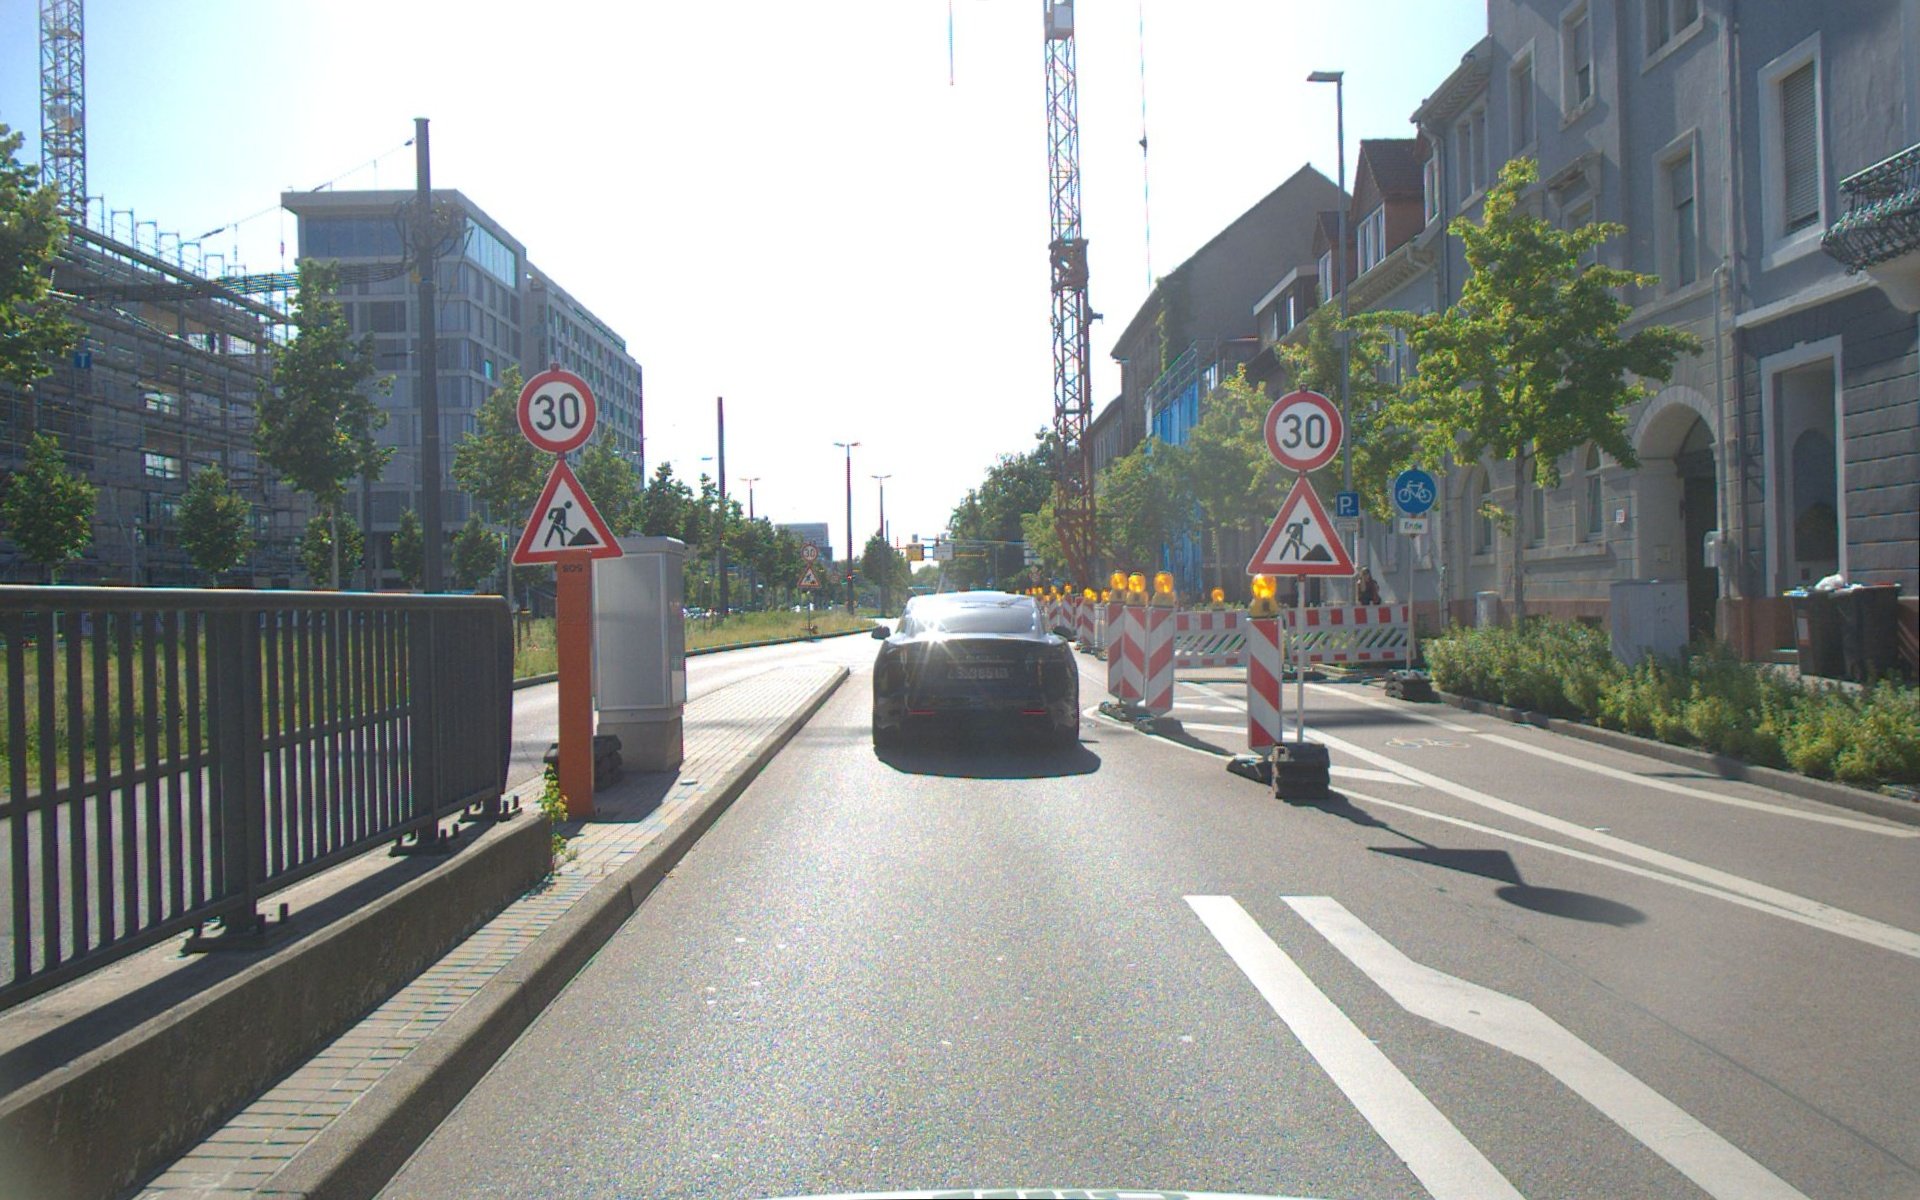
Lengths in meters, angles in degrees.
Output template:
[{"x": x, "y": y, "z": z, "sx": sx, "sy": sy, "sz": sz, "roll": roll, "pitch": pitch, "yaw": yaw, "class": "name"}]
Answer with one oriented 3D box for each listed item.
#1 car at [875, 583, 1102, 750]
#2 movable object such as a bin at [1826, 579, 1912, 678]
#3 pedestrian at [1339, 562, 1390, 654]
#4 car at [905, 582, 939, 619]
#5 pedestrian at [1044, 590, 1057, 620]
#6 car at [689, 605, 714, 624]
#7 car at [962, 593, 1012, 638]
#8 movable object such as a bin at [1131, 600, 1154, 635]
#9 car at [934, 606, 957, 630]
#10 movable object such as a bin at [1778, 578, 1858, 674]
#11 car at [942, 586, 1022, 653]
[{"x": 0.215, "y": 0.592, "z": 16.896, "sx": 2.009, "sy": 1.469, "sz": 4.523, "roll": 0, "pitch": 0, "yaw": -1, "class": "car"}, {"x": 10.430, "y": 0.322, "z": 18.986, "sx": 0.590, "sy": 1.101, "sz": 0.703, "roll": -1, "pitch": 0, "yaw": 0, "class": "movable object such as a bin"}, {"x": 8.773, "y": 0.169, "z": 35.885, "sx": 0.781, "sy": 1.962, "sz": 0.766, "roll": 0, "pitch": 0, "yaw": -18, "class": "pedestrian"}, {"x": -2.456, "y": 0.012, "z": 106.805, "sx": 2.173, "sy": 2.307, "sz": 4.482, "roll": 0, "pitch": 0, "yaw": -2, "class": "car"}, {"x": 5.978, "y": 0.318, "z": 109.264, "sx": 0.645, "sy": 1.946, "sz": 0.587, "roll": -4, "pitch": 0, "yaw": -1, "class": "pedestrian"}, {"x": -24.741, "y": 1.371, "z": 158.630, "sx": 1.754, "sy": 1.680, "sz": 4.000, "roll": -2, "pitch": 0, "yaw": 0, "class": "car"}, {"x": 0.947, "y": 0.550, "z": 59.594, "sx": 1.714, "sy": 1.554, "sz": 4.004, "roll": 0, "pitch": 0, "yaw": 0, "class": "car"}, {"x": 5.895, "y": 0.552, "z": 53.554, "sx": 0.583, "sy": 1.076, "sz": 0.730, "roll": -5, "pitch": 0, "yaw": 0, "class": "movable object such as a bin"}, {"x": -1.191, "y": 1.453, "z": 132.622, "sx": 1.756, "sy": 1.906, "sz": 3.848, "roll": 0, "pitch": -1, "yaw": -2, "class": "car"}, {"x": 10.265, "y": 0.303, "z": 19.801, "sx": 0.576, "sy": 1.127, "sz": 0.703, "roll": -1, "pitch": 0, "yaw": 0, "class": "movable object such as a bin"}, {"x": 0.455, "y": 0.420, "z": 38.689, "sx": 1.712, "sy": 1.452, "sz": 4.837, "roll": -1, "pitch": 0, "yaw": -1, "class": "car"}]
